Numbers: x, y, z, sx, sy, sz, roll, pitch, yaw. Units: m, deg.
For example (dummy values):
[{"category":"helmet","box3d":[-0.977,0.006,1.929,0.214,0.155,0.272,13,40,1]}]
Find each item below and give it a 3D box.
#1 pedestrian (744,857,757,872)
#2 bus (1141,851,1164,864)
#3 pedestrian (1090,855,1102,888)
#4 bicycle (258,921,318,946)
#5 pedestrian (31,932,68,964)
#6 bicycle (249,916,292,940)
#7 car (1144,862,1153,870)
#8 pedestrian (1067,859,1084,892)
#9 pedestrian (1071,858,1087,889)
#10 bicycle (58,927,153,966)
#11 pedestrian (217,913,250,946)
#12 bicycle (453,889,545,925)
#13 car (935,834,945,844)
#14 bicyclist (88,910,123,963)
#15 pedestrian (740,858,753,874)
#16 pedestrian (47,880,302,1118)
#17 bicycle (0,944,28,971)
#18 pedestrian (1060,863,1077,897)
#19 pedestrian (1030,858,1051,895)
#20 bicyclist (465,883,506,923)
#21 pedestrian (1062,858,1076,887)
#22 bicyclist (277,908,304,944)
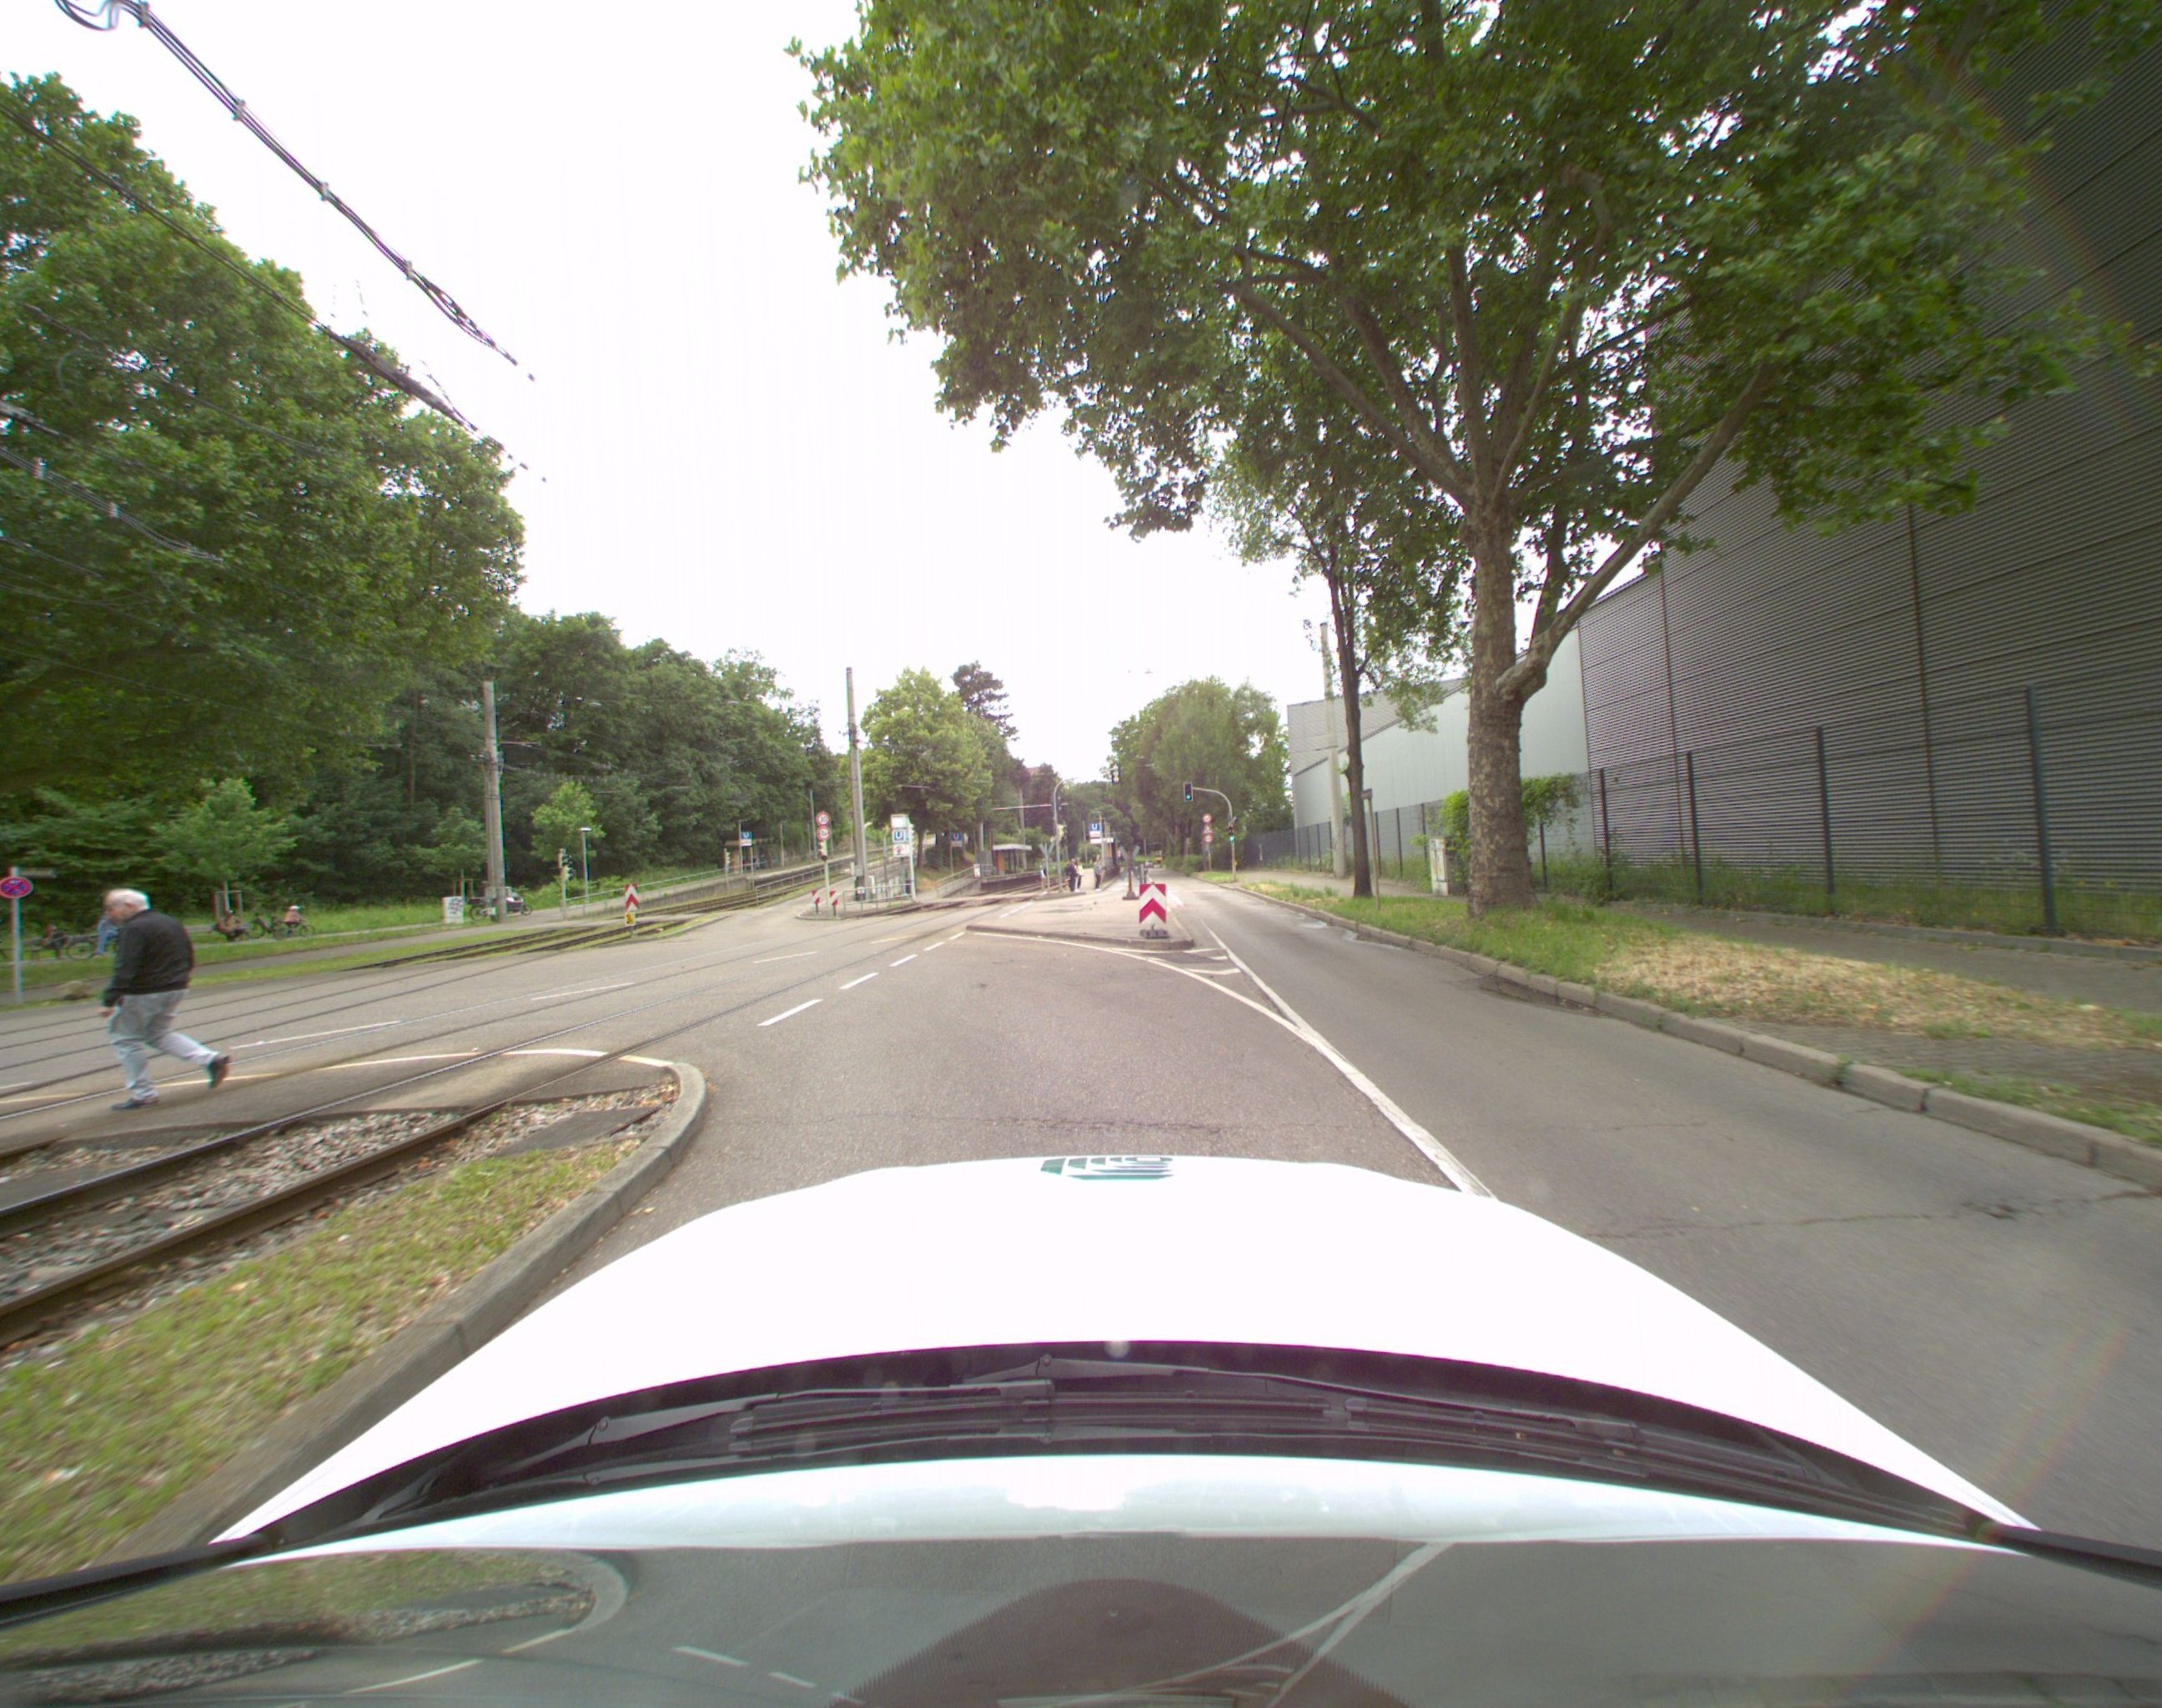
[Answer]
[{"category":"pedestrian","box3d":[-28.716,0.925,70.777,0.770,1.326,0.786,-1,-1,-4]},{"category":"bus","box3d":[20.495,0.945,233.012,2.708,3.626,8.998,-1,-1,31]},{"category":"pedestrian","box3d":[0.821,0.964,43.922,0.546,1.758,0.739,-1,-1,8]},{"category":"bicycle","box3d":[-30.677,3.068,31.540,0.449,0.738,1.569,1,4,31]},{"category":"pedestrian","box3d":[-34.562,3.153,27.293,0.526,0.989,0.623,-1,-1,18]},{"category":"bicycle","box3d":[-32.504,2.949,32.656,1.725,0.885,0.625,-1,-1,23]},{"category":"car","box3d":[13.929,2.518,167.527,1.736,1.599,4.003,-1,-1,3]},{"category":"pedestrian","box3d":[-0.282,1.118,42.669,0.674,1.665,0.741,-1,-1,19]},{"category":"pedestrian","box3d":[-0.085,1.081,45.374,0.674,1.665,0.741,-1,-1,17]},{"category":"bicycle","box3d":[-32.572,3.062,27.226,0.469,1.041,1.957,0,2,29]},{"category":"pedestrian","box3d":[-32.547,2.890,31.276,0.573,1.235,0.676,-1,-1,17]},{"category":"bicycle","box3d":[-27.129,2.427,38.048,0.726,1.289,3.369,1,4,36]},{"category":"car","box3d":[-33.230,-3.571,191.647,1.990,2.146,3.994,-1,-1,-4]},{"category":"bicyclist","box3d":[-32.581,2.745,27.204,0.469,1.674,0.627,0,2,29]},{"category":"pedestrian","box3d":[-28.622,0.988,69.630,0.770,1.326,0.786,-1,1,-4]},{"category":"pedestrian","box3d":[-7.354,1.114,6.681,1.118,1.760,0.810,-1,-1,-12]},{"category":"bicycle","box3d":[-33.446,3.236,24.765,0.449,0.738,1.663,0,2,27]},{"category":"pedestrian","box3d":[-0.598,1.259,40.181,0.731,1.665,0.682,-1,-1,5]},{"category":"pedestrian","box3d":[-2.015,1.127,40.672,0.808,1.821,0.663,0,-1,-34]},{"category":"bicyclist","box3d":[-27.443,2.243,37.570,0.726,1.711,1.301,1,4,36]},{"category":"pedestrian","box3d":[-0.686,1.047,46.924,0.734,1.665,0.680,-1,-1,-7]},{"category":"bicyclist","box3d":[-30.646,2.785,31.582,0.449,1.301,0.585,1,4,31]}]
